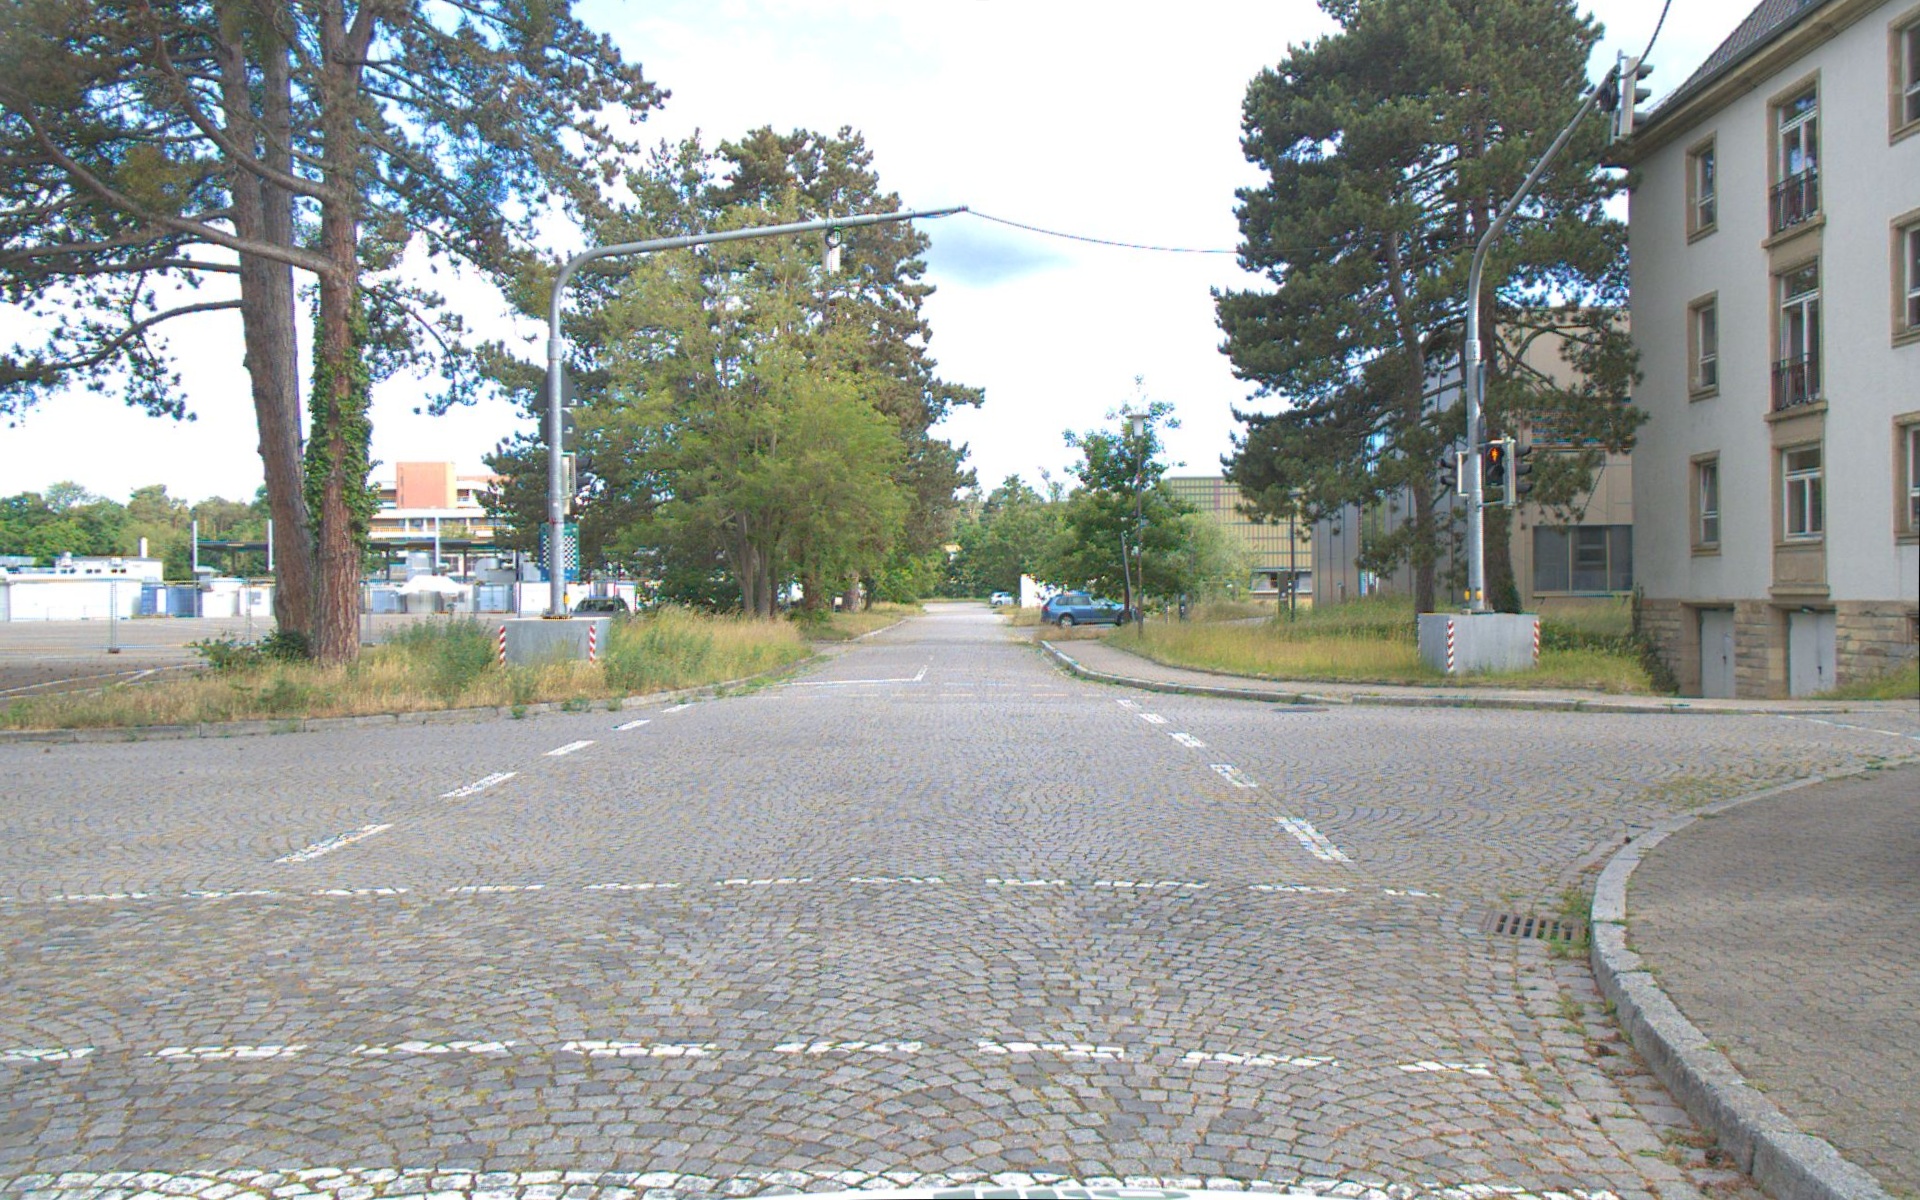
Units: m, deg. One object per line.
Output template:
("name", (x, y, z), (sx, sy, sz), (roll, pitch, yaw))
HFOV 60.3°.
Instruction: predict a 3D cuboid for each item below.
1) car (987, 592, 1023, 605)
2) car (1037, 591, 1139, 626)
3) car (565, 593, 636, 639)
("car", (5.148, -0.207, 189.698), (3.910, 1.422, 1.998), (-1, 0, -6))
("car", (5.595, 0.375, 72.615), (4.256, 1.447, 1.999), (-1, 0, -2))
("car", (-12.511, 0.538, 57.724), (1.580, 1.513, 4.000), (-1, 0, 0))
